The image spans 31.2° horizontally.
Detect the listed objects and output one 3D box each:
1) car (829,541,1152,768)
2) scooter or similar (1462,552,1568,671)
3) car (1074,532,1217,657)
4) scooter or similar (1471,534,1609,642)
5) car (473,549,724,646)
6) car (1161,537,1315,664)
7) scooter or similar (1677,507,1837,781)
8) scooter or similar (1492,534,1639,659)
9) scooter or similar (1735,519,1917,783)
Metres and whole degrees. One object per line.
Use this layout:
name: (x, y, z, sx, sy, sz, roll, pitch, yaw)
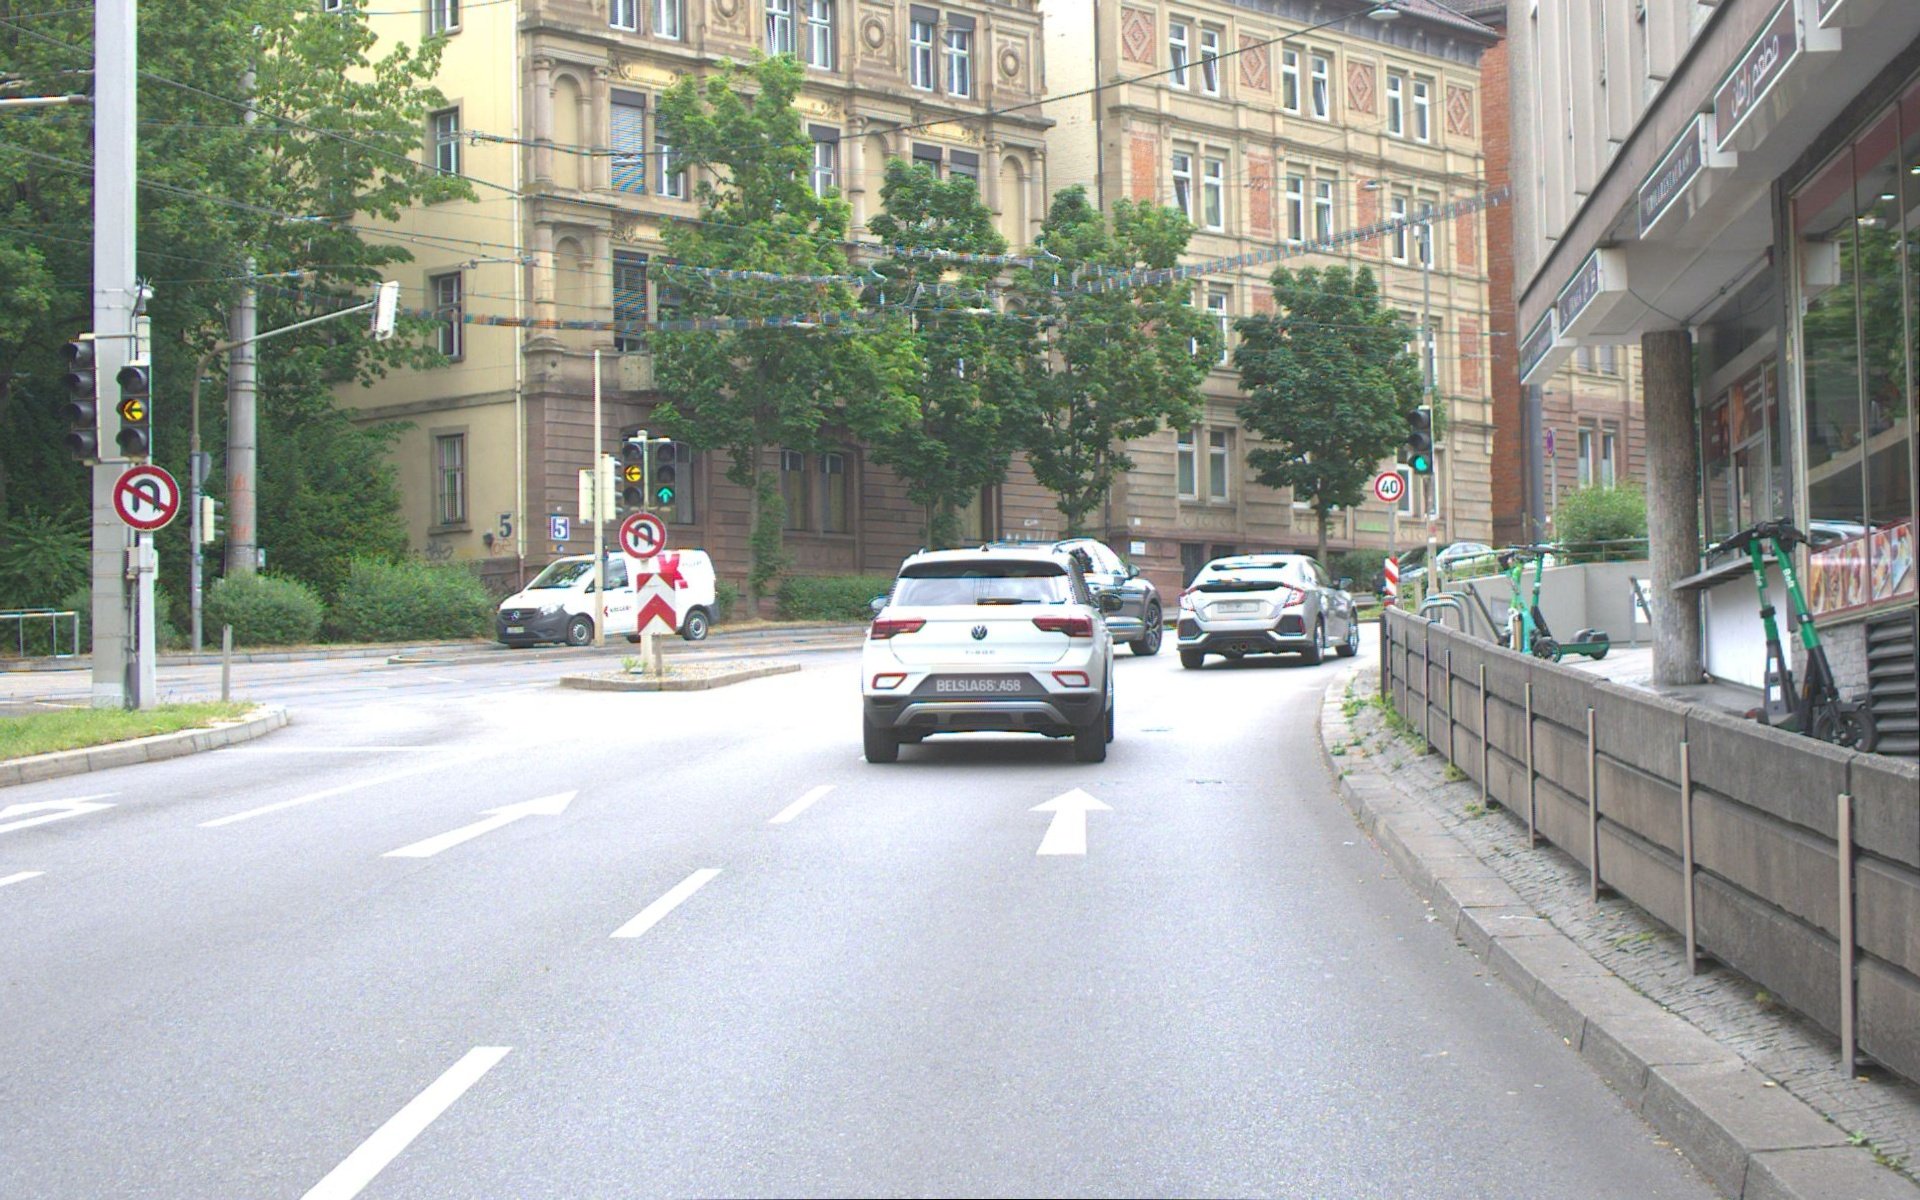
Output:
car: (0.321, 0.376, 26.135, 1.938, 1.561, 4.045, -1, 0, 8)
scooter or similar: (5.634, 0.113, 34.871, 1.007, 1.178, 0.377, -2, 0, -26)
car: (2.753, -0.110, 50.404, 1.840, 1.734, 3.999, -1, 1, 7)
scooter or similar: (6.431, -0.128, 38.124, 1.440, 1.178, 0.583, 0, 0, -26)
car: (-7.197, -0.055, 68.911, 1.998, 1.843, 4.981, -2, -1, 40)
car: (3.582, 0.004, 44.626, 1.903, 1.568, 3.834, 0, 0, 4)
scooter or similar: (4.444, 0.233, 19.222, 0.668, 1.470, 1.178, -1, 0, 4)
scooter or similar: (6.434, -0.044, 36.523, 1.441, 1.250, 0.557, -3, 1, -26)
scooter or similar: (4.270, 0.235, 17.027, 0.631, 1.245, 1.333, -1, 0, 4)
